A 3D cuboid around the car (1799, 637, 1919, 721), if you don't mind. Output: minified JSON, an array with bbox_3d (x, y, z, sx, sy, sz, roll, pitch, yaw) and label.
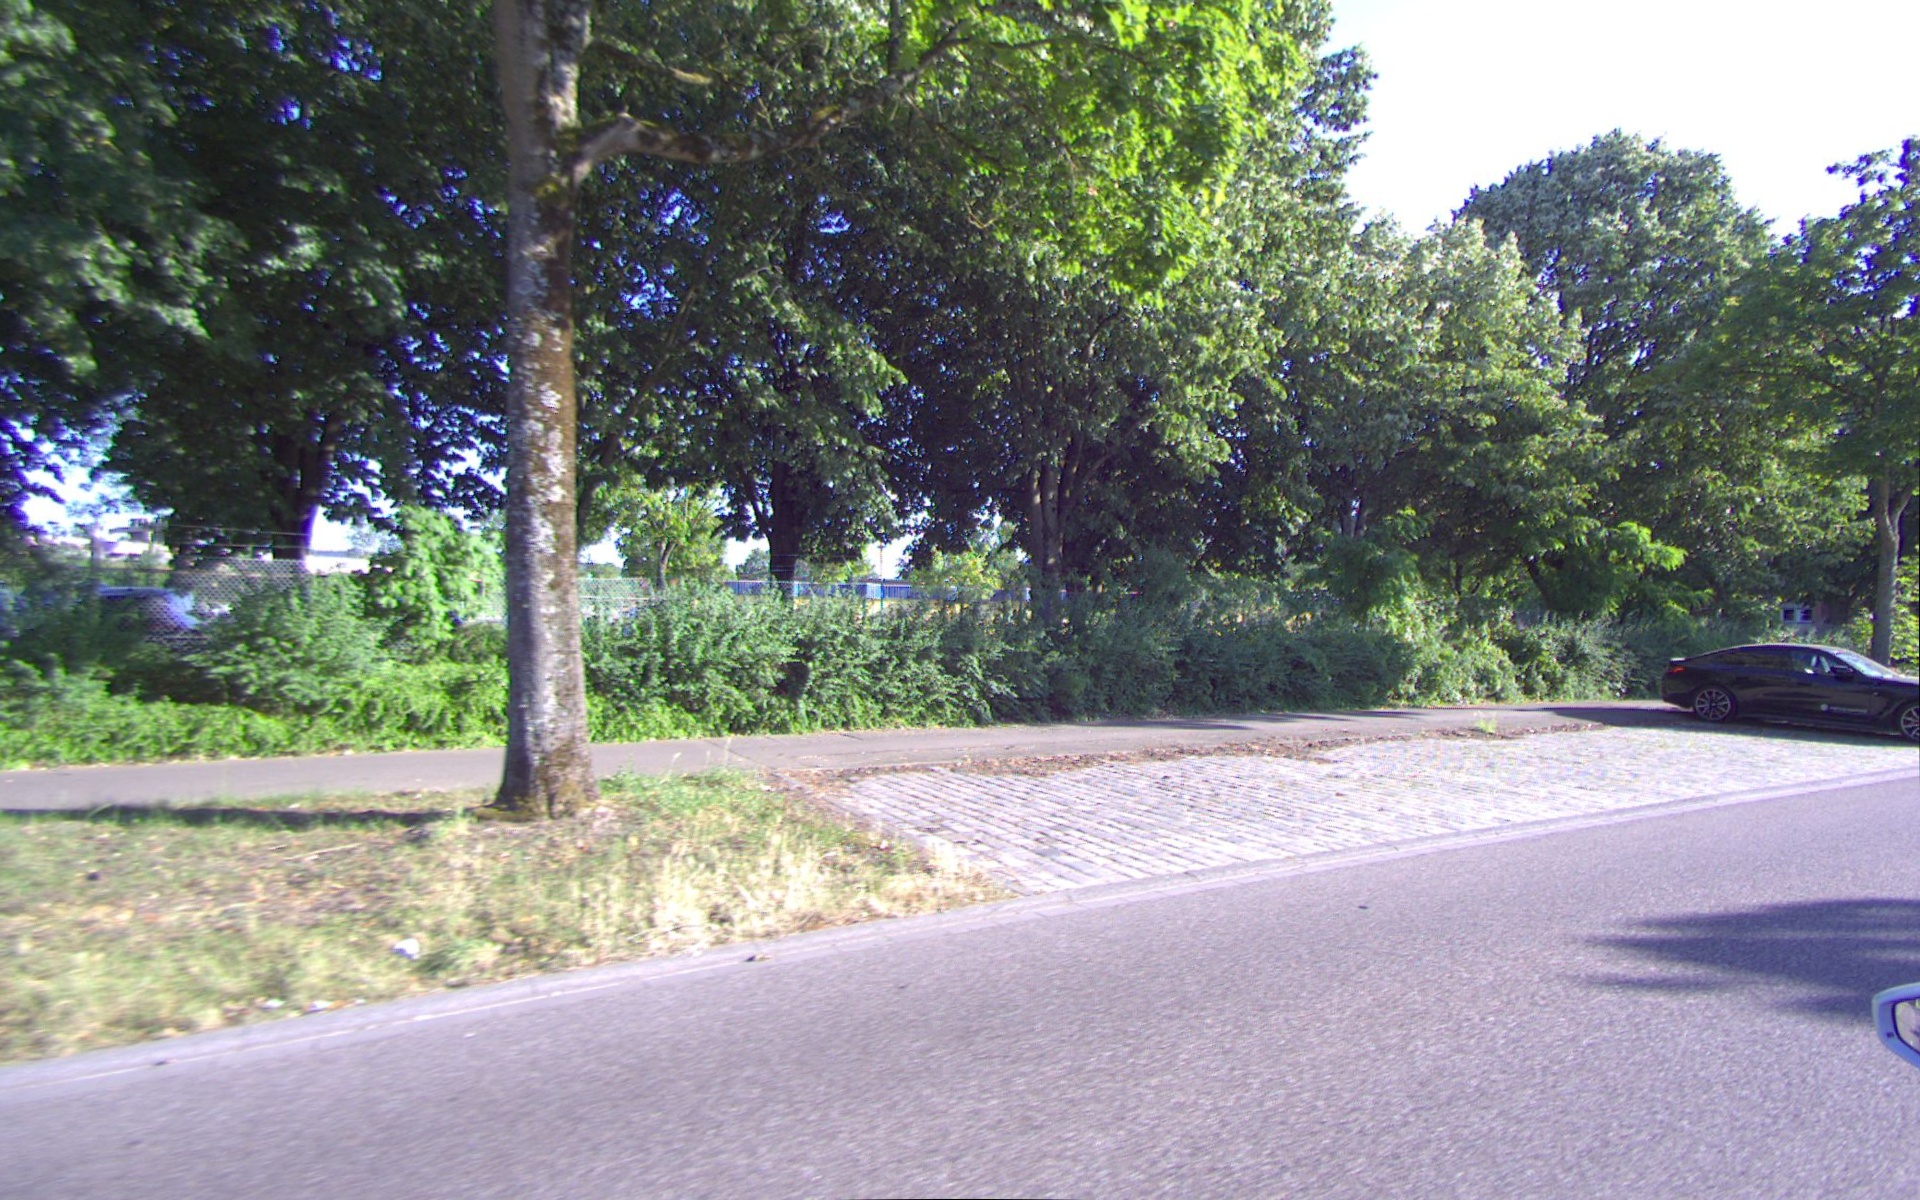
[{"bbox_3d":[19.937,1.641,20.208,1.975,1.551,4.268,2,0,-28],"label":"car"}]

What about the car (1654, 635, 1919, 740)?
[{"bbox_3d":[14.972,1.444,17.260,1.895,1.440,4.624,2,0,-31],"label":"car"}]

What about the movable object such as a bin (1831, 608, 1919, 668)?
[{"bbox_3d":[43.922,1.807,48.044,2.124,2.699,4.801,0,-2,25],"label":"movable object such as a bin"}]

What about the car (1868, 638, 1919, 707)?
[{"bbox_3d":[24.053,1.775,22.748,1.978,1.551,4.822,2,0,-32],"label":"car"}]
